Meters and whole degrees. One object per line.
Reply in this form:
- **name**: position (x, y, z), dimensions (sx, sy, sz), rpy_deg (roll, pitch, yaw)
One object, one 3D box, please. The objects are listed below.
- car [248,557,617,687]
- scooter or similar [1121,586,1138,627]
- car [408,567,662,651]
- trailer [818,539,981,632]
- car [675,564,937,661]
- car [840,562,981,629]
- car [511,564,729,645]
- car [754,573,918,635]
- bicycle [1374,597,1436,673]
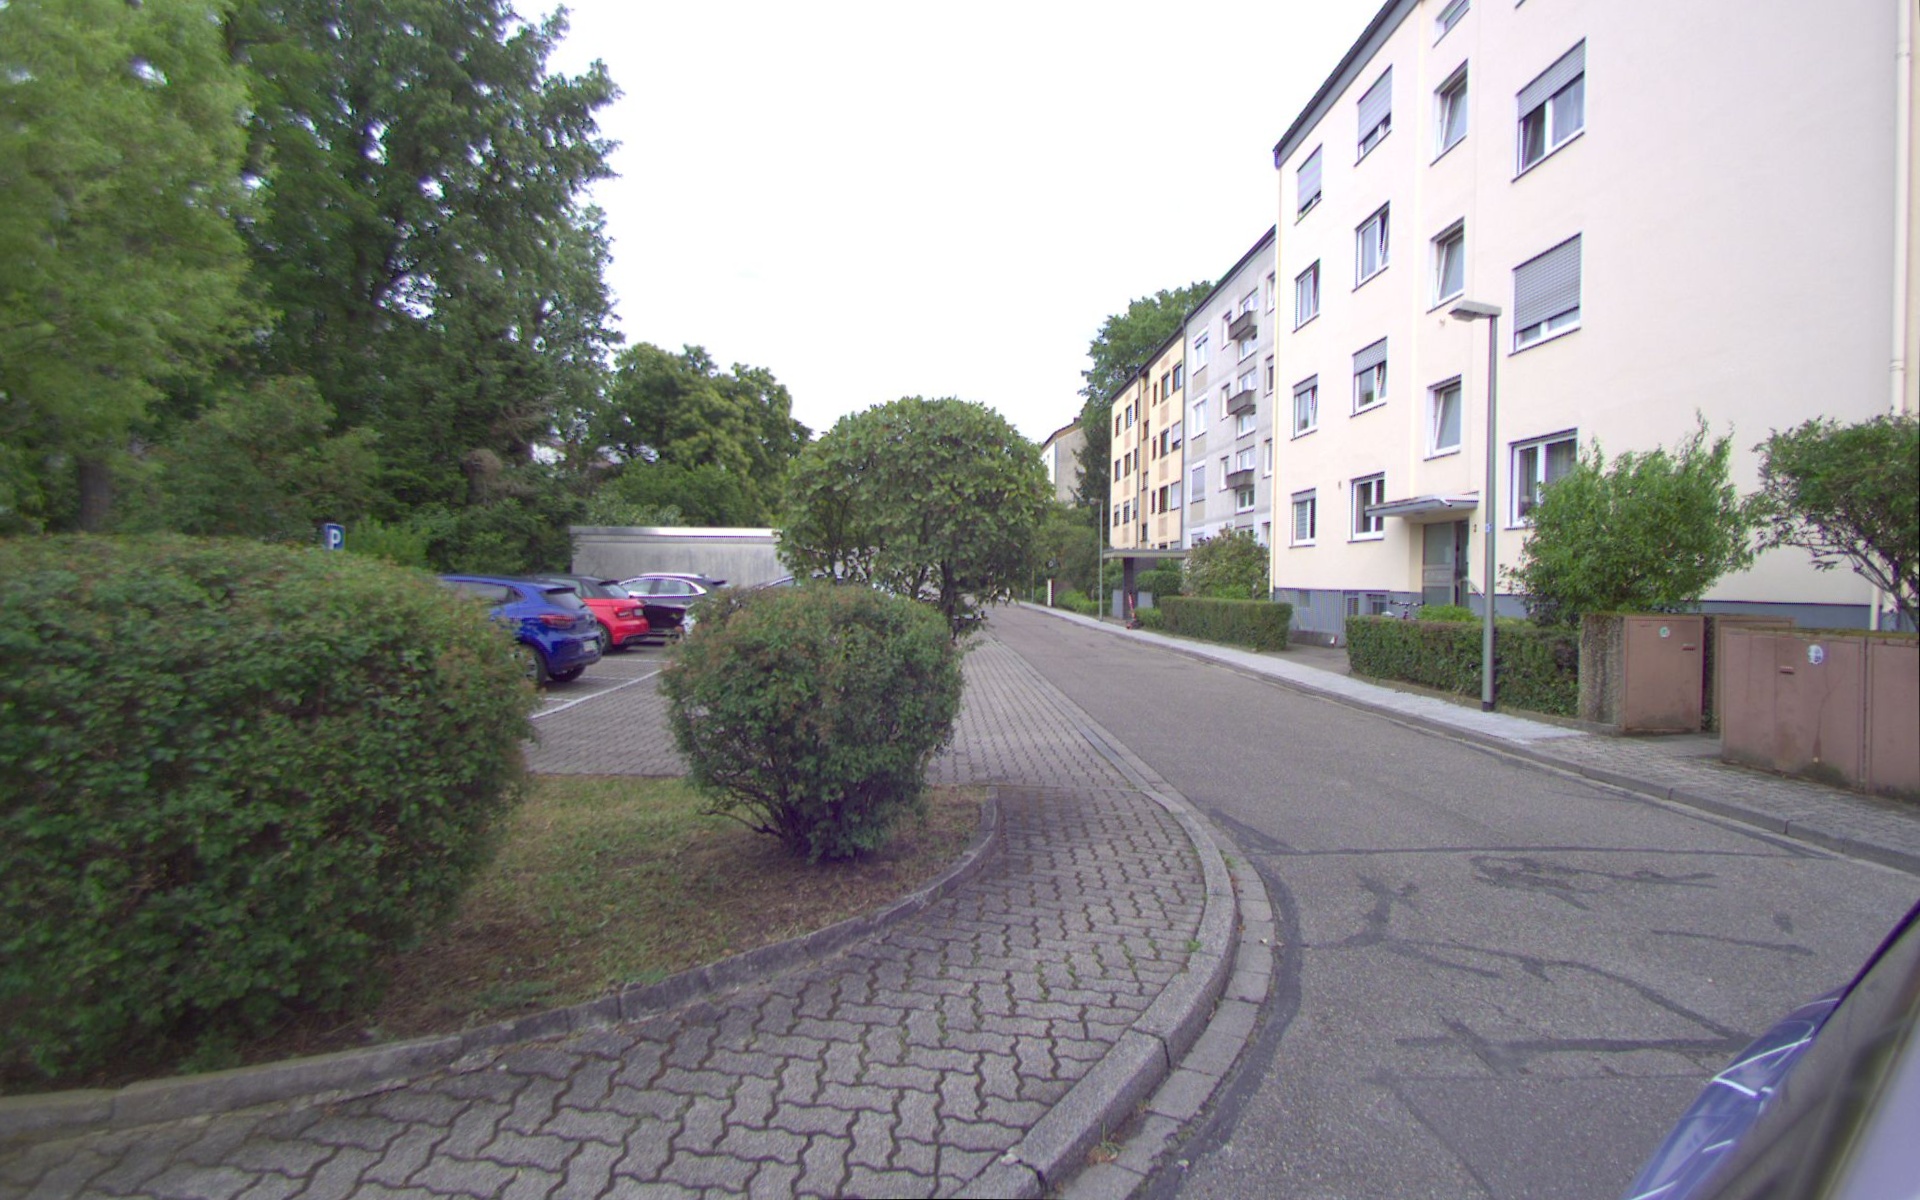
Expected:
- **car**: position (-6.793, 0.255, 13.391), dimensions (3.835, 1.529, 2.028), rpy_deg (1, 1, -1)
- **scooter or similar**: position (5.310, 0.192, 31.652), dimensions (0.268, 1.226, 1.165), rpy_deg (1, 0, -2)
- **car**: position (-7.672, 0.146, 18.577), dimensions (3.835, 1.398, 1.972), rpy_deg (1, 1, -1)
- **trailer**: position (-1.704, -0.423, 29.119), dimensions (4.536, 2.556, 1.943), rpy_deg (0, 1, 0)
- **car**: position (-2.700, 0.202, 18.514), dimensions (4.466, 1.608, 1.988), rpy_deg (1, 1, 1)
- **car**: position (-1.548, -0.159, 32.096), dimensions (4.241, 1.824, 2.001), rpy_deg (3, 1, -2)
- **car**: position (-6.969, 0.074, 21.091), dimensions (3.921, 1.571, 2.001), rpy_deg (1, 1, -3)
- **car**: position (-3.123, 0.088, 26.069), dimensions (4.061, 1.467, 1.613), rpy_deg (1, 1, -1)
- **bicycle**: position (6.911, 0.520, 15.763), dimensions (0.313, 1.089, 1.418), rpy_deg (0, 1, -1)
